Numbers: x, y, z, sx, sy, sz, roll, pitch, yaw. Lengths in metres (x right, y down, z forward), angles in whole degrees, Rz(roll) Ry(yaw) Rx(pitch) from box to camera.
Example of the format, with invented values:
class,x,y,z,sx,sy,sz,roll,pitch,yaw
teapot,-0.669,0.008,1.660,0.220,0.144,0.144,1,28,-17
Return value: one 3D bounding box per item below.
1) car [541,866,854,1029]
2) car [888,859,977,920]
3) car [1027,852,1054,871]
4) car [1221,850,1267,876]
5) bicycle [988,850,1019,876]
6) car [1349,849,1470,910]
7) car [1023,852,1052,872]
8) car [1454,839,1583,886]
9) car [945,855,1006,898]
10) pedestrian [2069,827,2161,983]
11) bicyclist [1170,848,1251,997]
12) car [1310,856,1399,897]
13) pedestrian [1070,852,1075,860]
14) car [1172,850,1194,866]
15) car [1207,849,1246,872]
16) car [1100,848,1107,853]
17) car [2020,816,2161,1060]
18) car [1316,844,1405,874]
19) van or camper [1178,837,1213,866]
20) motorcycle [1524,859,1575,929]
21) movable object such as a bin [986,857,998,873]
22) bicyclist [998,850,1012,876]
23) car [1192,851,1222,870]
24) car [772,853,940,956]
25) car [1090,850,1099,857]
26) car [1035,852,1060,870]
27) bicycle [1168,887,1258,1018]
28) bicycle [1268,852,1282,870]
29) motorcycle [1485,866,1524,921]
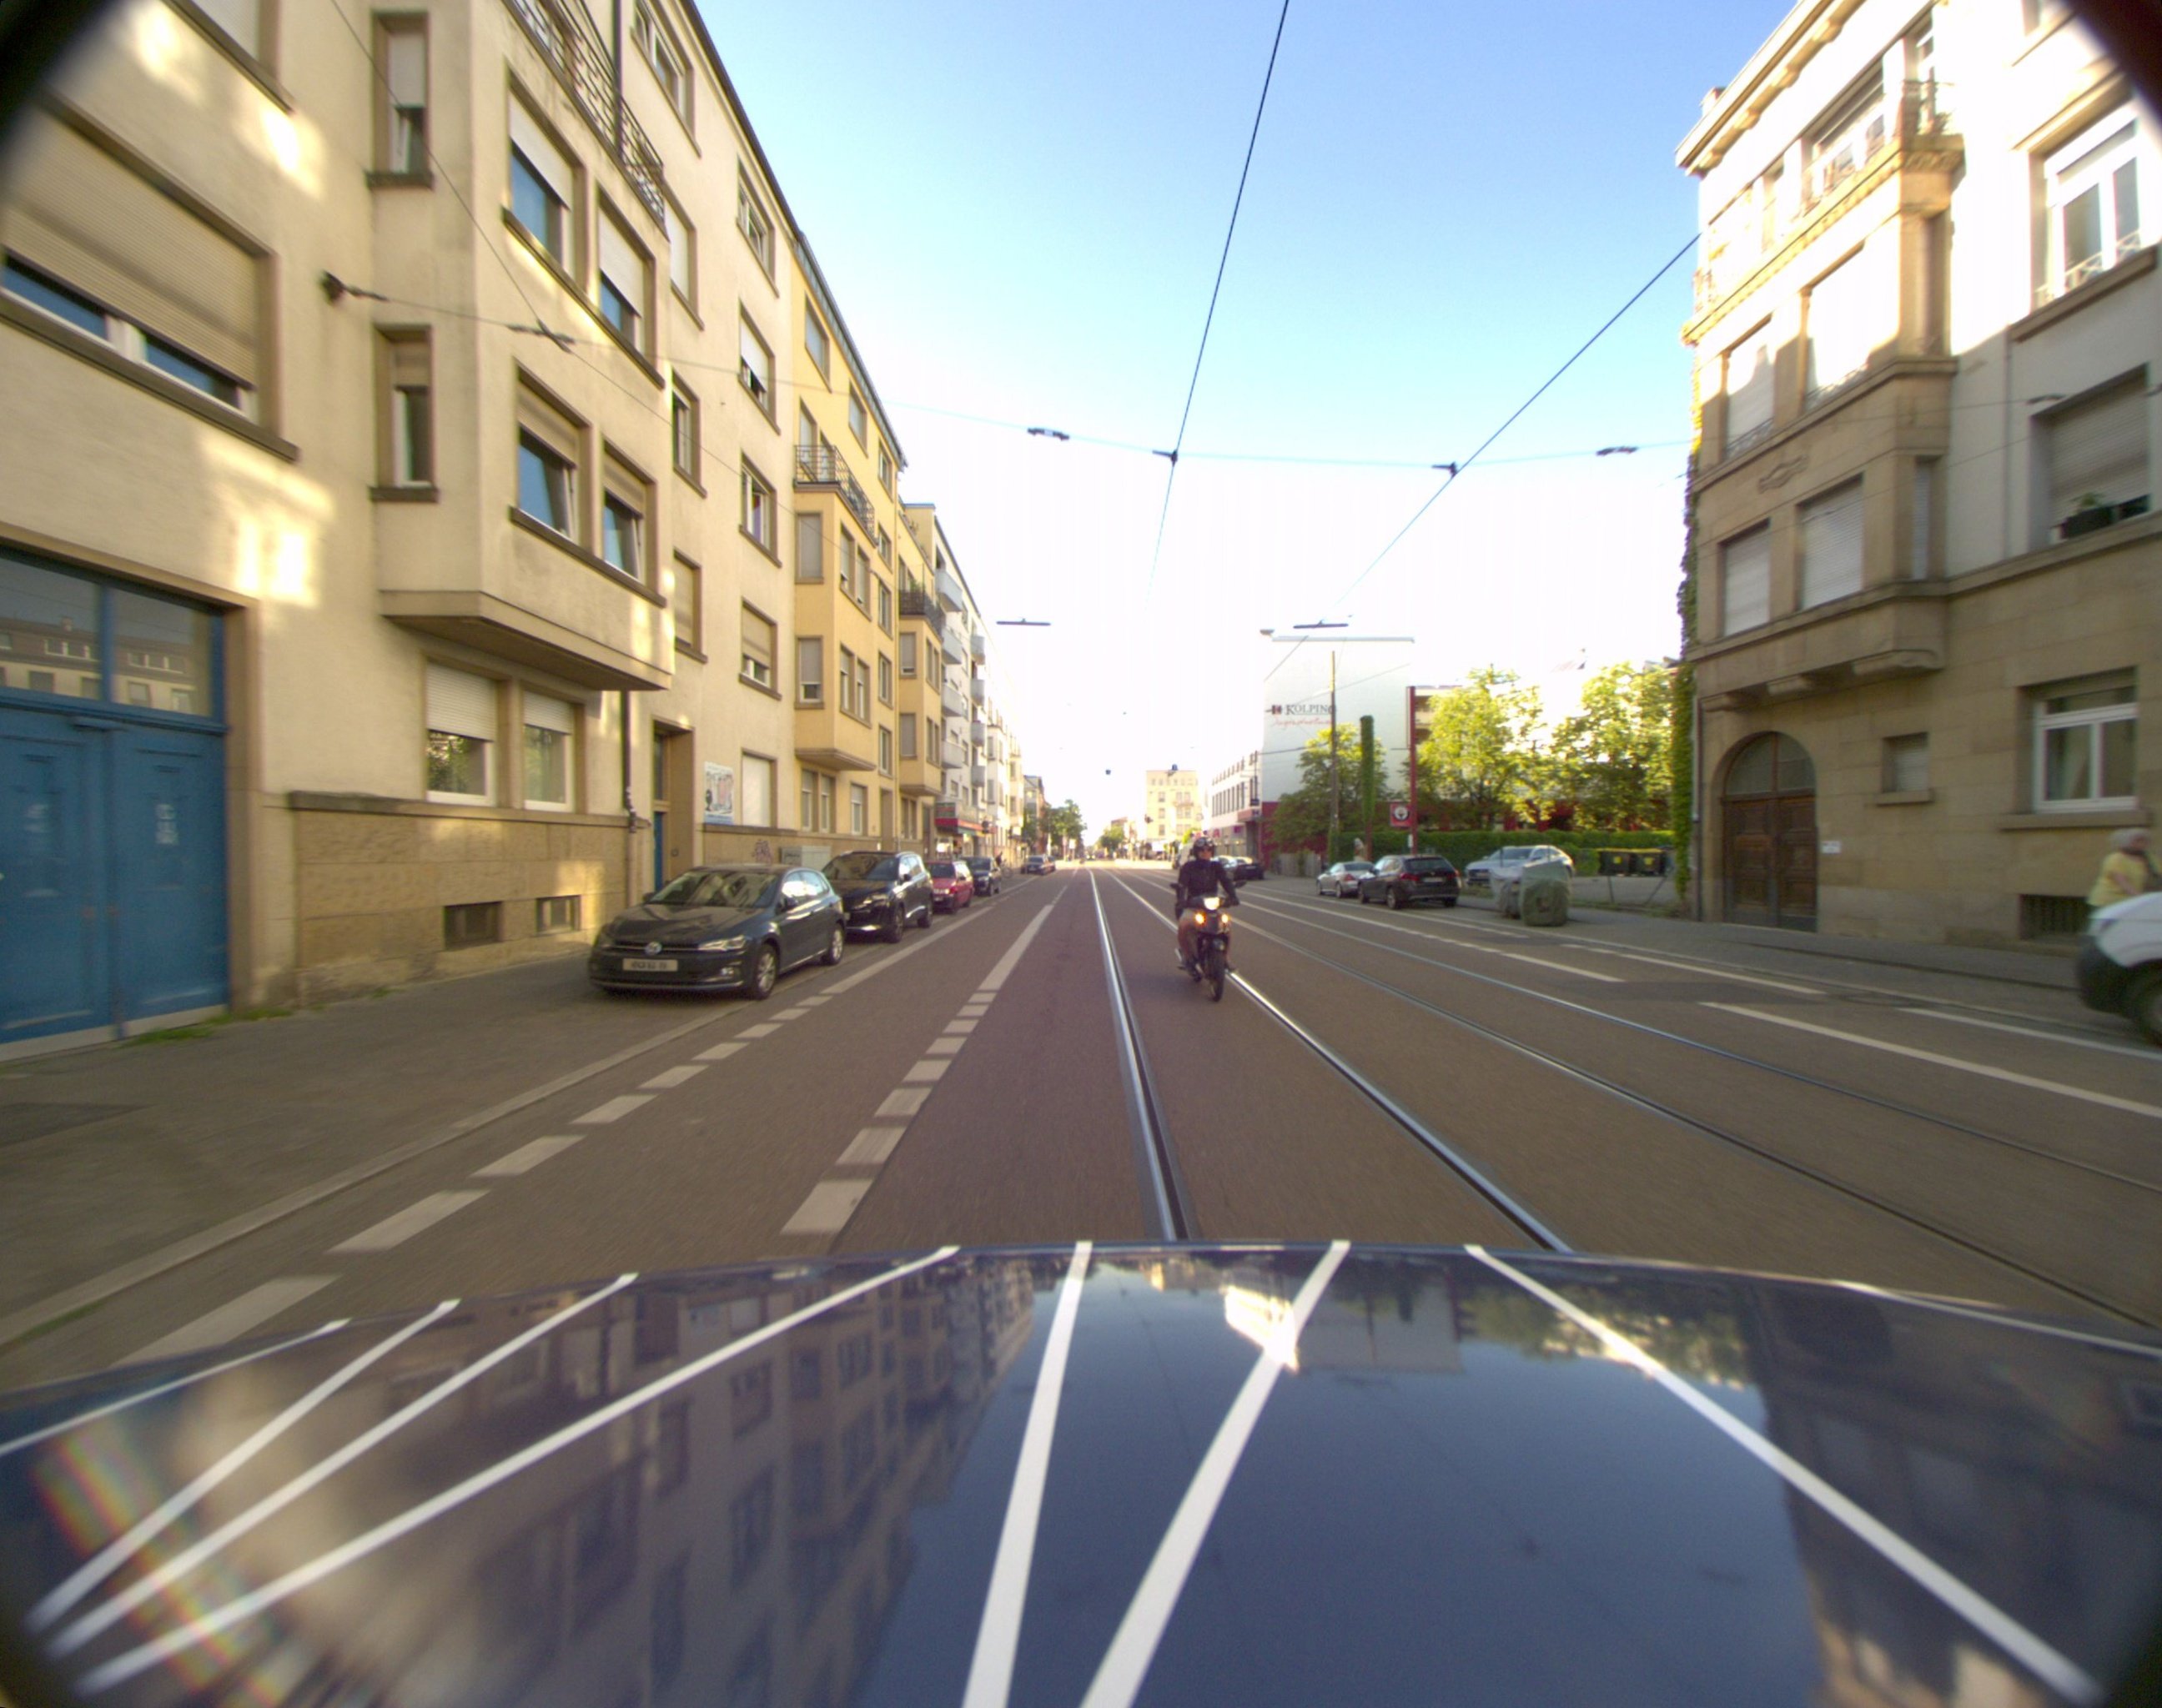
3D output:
class,x,y,z,sx,sy,sz,roll,pitch,yaw
car,-4.221,0.916,9.196,1.741,1.433,4.032,0,1,0
car,-4.070,0.908,21.611,1.864,1.447,4.707,0,1,-3
car,-3.369,0.614,63.985,1.861,1.464,3.988,2,1,2
car,9.980,0.525,46.849,1.787,1.437,4.841,-2,1,1
bicycle,-5.045,0.594,49.682,1.935,1.701,0.775,-1,1,1
car,9.708,0.673,22.870,1.787,1.556,4.610,-2,1,3
car,-3.319,0.619,58.667,1.714,1.399,4.358,2,1,2
car,15.663,0.252,27.125,4.805,1.509,1.995,-1,1,-32
car,-4.060,0.827,29.800,1.722,1.482,4.001,1,1,1
pedestrian,11.996,0.558,8.648,0.681,1.714,0.616,-1,1,1
bicyclist,1.386,0.697,8.277,0.774,1.531,0.939,0,1,3
car,10.007,0.778,28.121,1.787,1.306,4.220,-2,1,1
pedestrian,-1.374,0.332,126.586,0.774,1.197,0.610,0,1,-8
car,10.513,0.360,78.615,1.787,1.543,3.992,-2,1,2
car,10.032,0.402,52.752,1.788,1.472,4.699,-2,1,0
car,6.847,-1.122,232.801,1.970,1.577,4.000,-1,1,3
car,9.576,0.654,4.310,1.978,1.937,5.251,-2,1,0
car,15.756,0.278,43.007,4.372,1.588,2.000,-1,1,2
van or camper,10.271,-0.248,68.846,2.177,2.453,6.231,-2,1,0
motorcycle,9.984,0.804,16.159,0.884,1.343,1.961,0,1,33
movable object such as a bin,-6.175,0.776,52.621,0.772,1.066,0.617,-1,1,0
bicyclist,-4.987,0.558,49.795,0.844,1.693,0.510,-1,1,4
car,10.229,0.489,61.791,1.787,1.390,4.445,-2,1,2
car,-4.112,0.821,14.742,1.864,1.656,4.561,0,1,0
car,3.242,-0.113,183.491,1.970,1.577,4.000,-1,1,1
car,-3.028,0.578,69.188,1.861,1.499,4.095,2,1,2
bicycle,1.400,1.007,8.345,0.767,1.192,1.752,0,1,3
bicycle,12.937,0.434,50.614,0.440,1.168,2.050,-1,1,2
motorcycle,10.081,0.901,18.070,0.739,1.164,2.184,0,1,31
